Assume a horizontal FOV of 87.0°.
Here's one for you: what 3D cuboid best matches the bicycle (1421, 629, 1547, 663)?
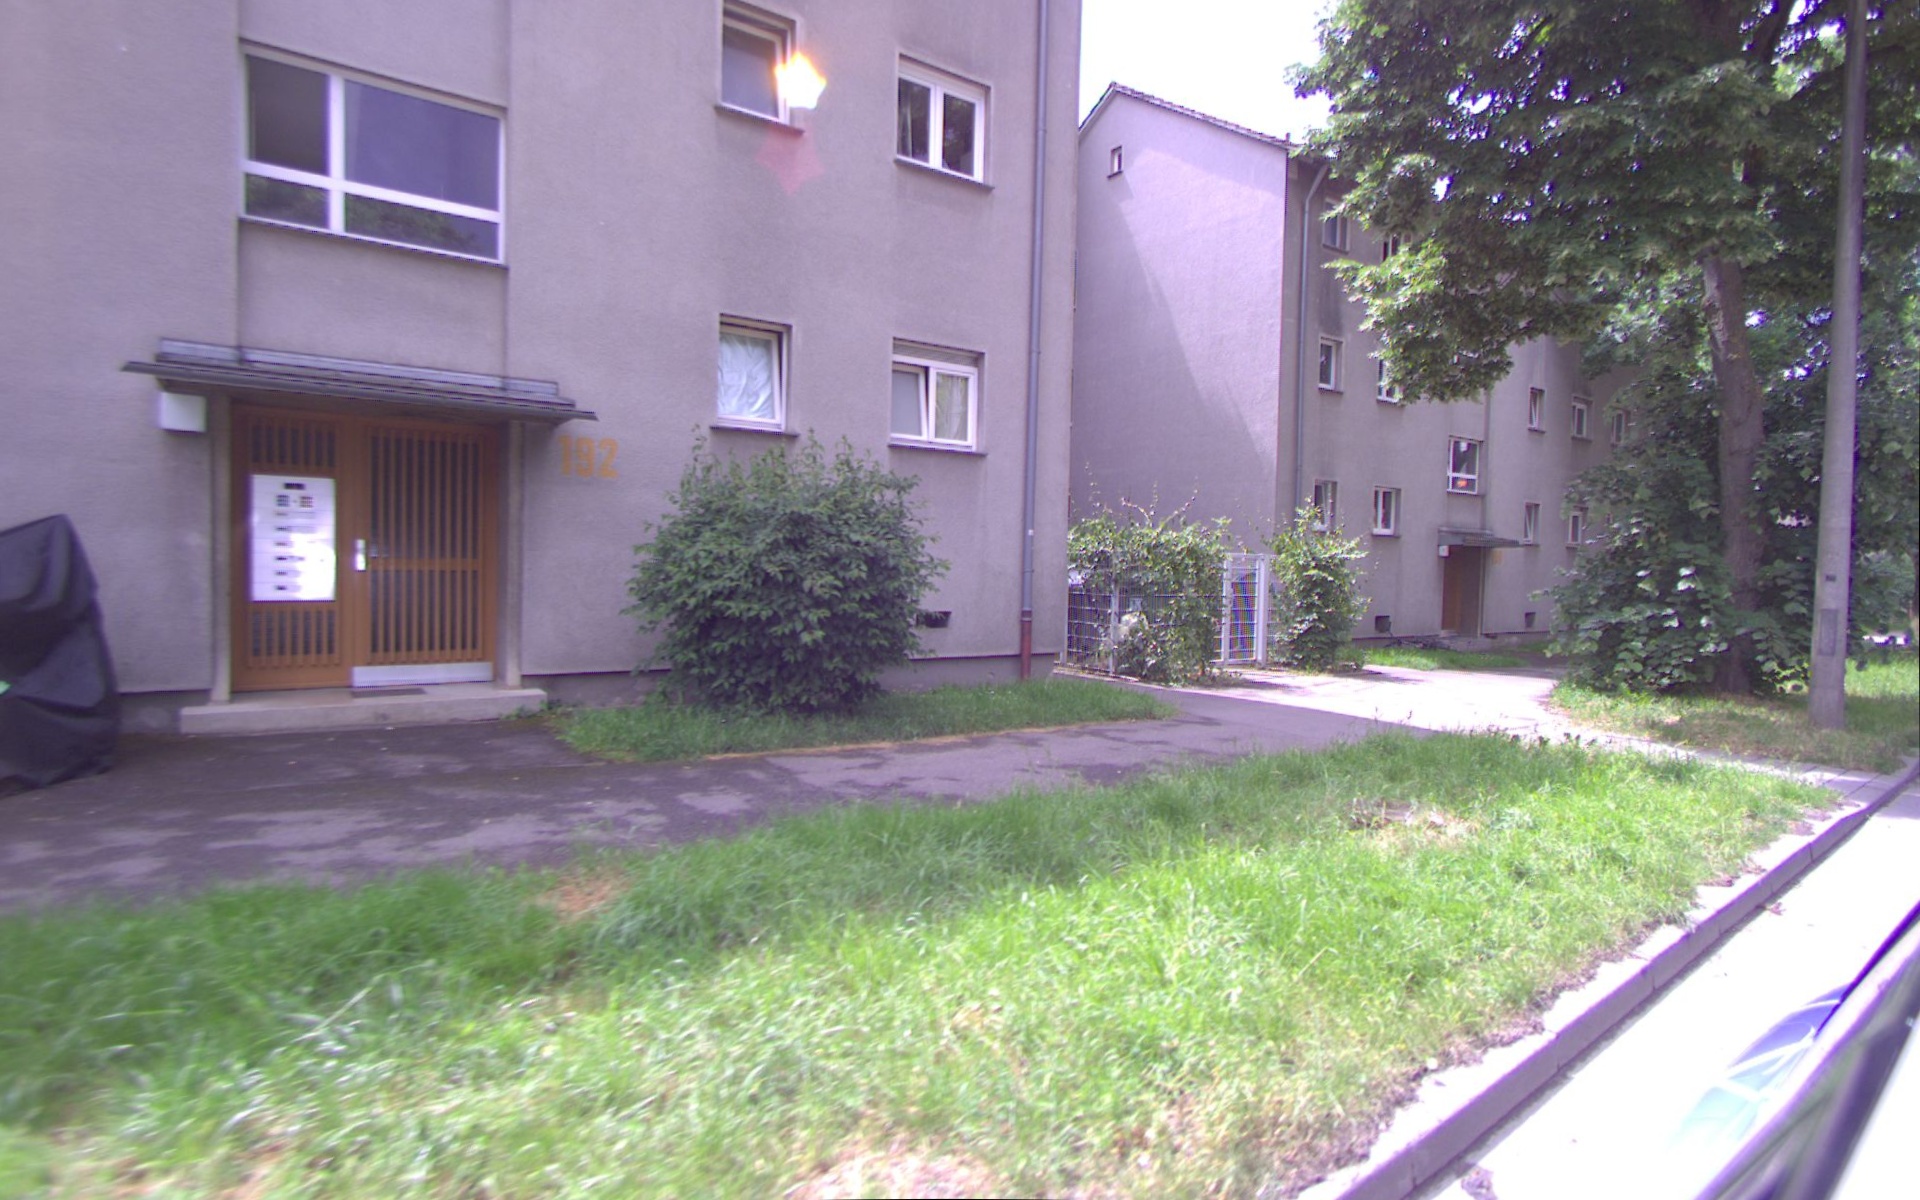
[{"bbox_3d":[10.225,0.886,19.844,0.659,0.514,2.214,0,1,-29],"label":"bicycle"}]

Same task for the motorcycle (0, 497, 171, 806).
[{"bbox_3d":[-5.129,0.201,5.520,0.996,1.447,2.006,1,2,-29],"label":"motorcycle"}]
